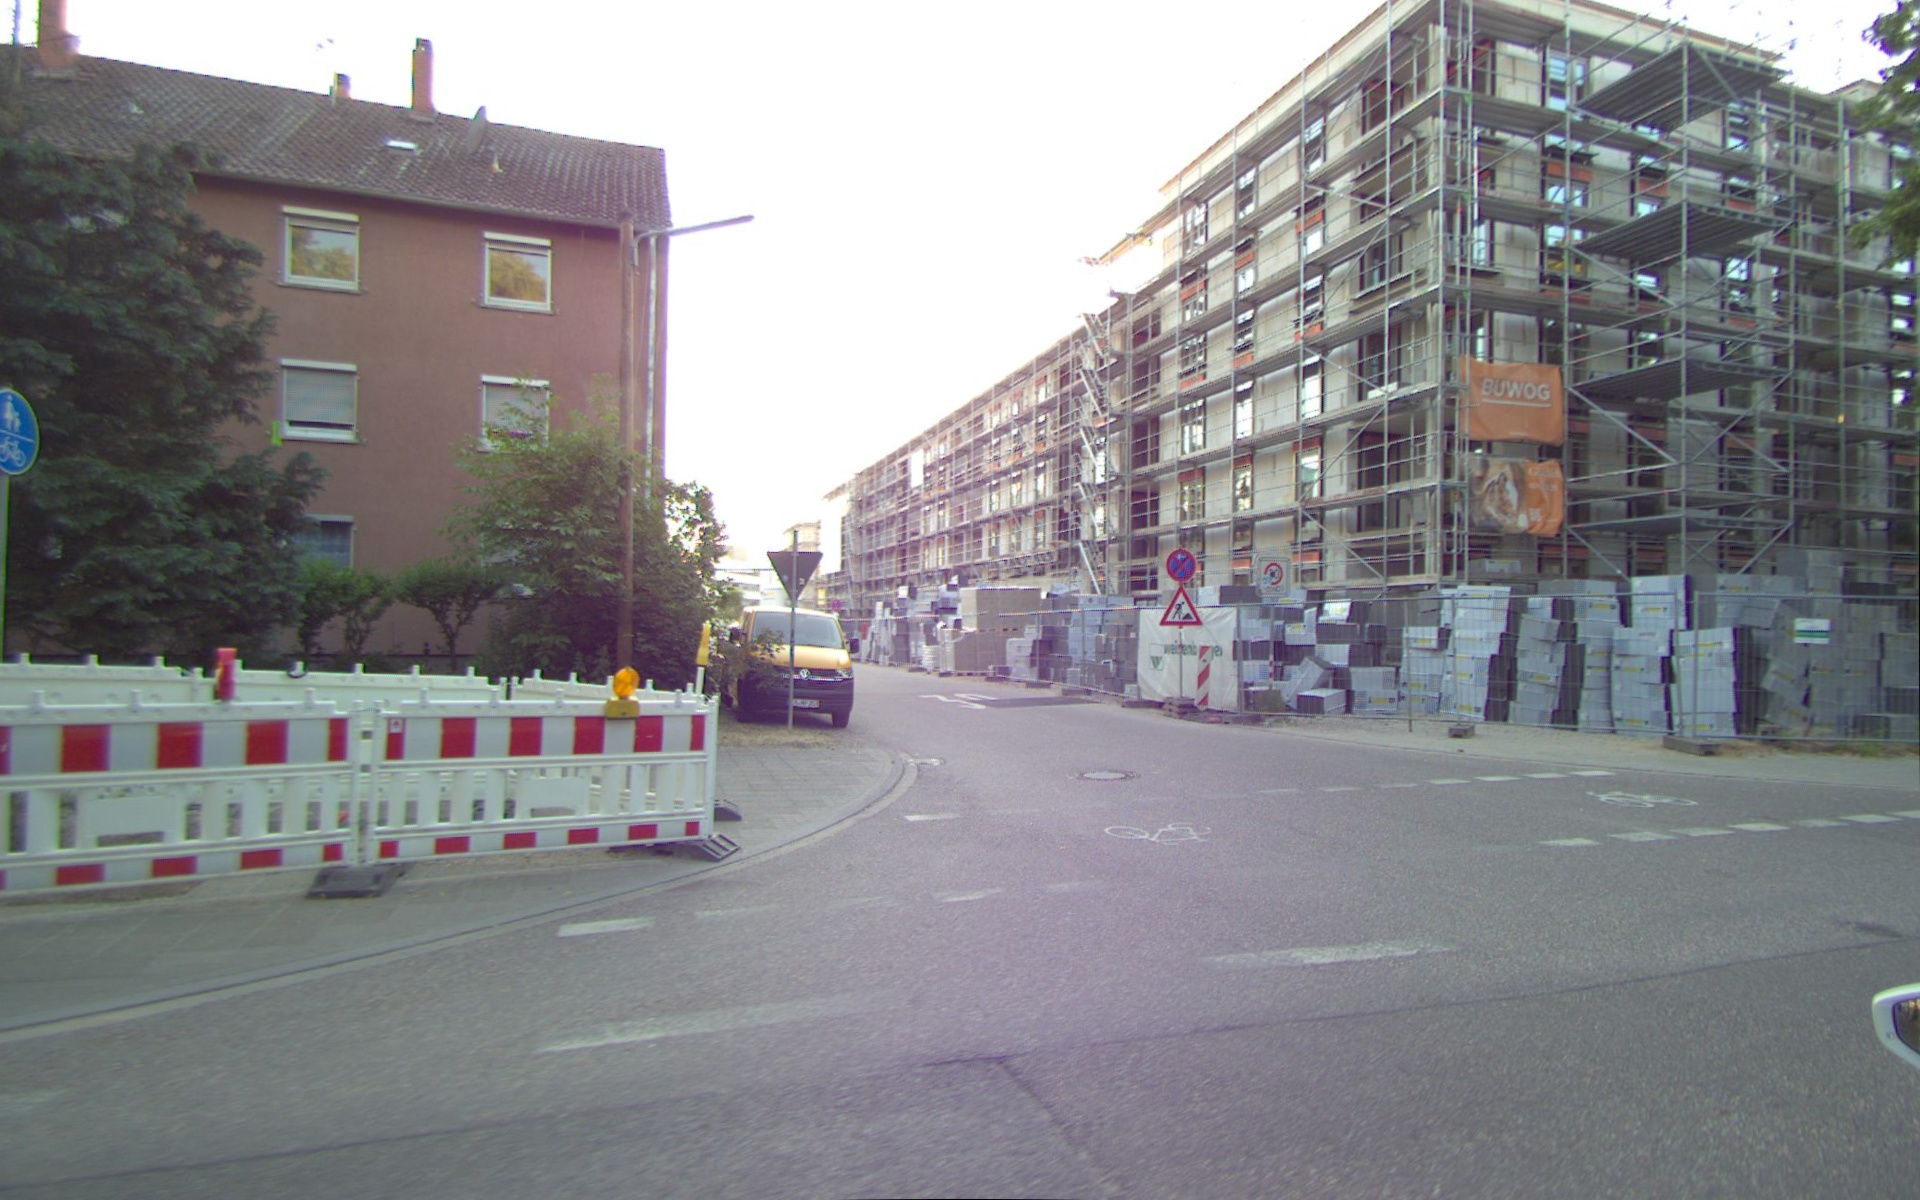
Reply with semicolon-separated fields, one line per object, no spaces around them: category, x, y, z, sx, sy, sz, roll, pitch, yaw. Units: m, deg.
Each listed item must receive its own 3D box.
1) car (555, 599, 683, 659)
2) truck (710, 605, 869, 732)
car;-16.252;1.434;48.175;5.615;2.660;2.214;2;-2;-17
truck;-3.303;1.183;18.378;2.009;1.938;5.639;2;-3;-18
